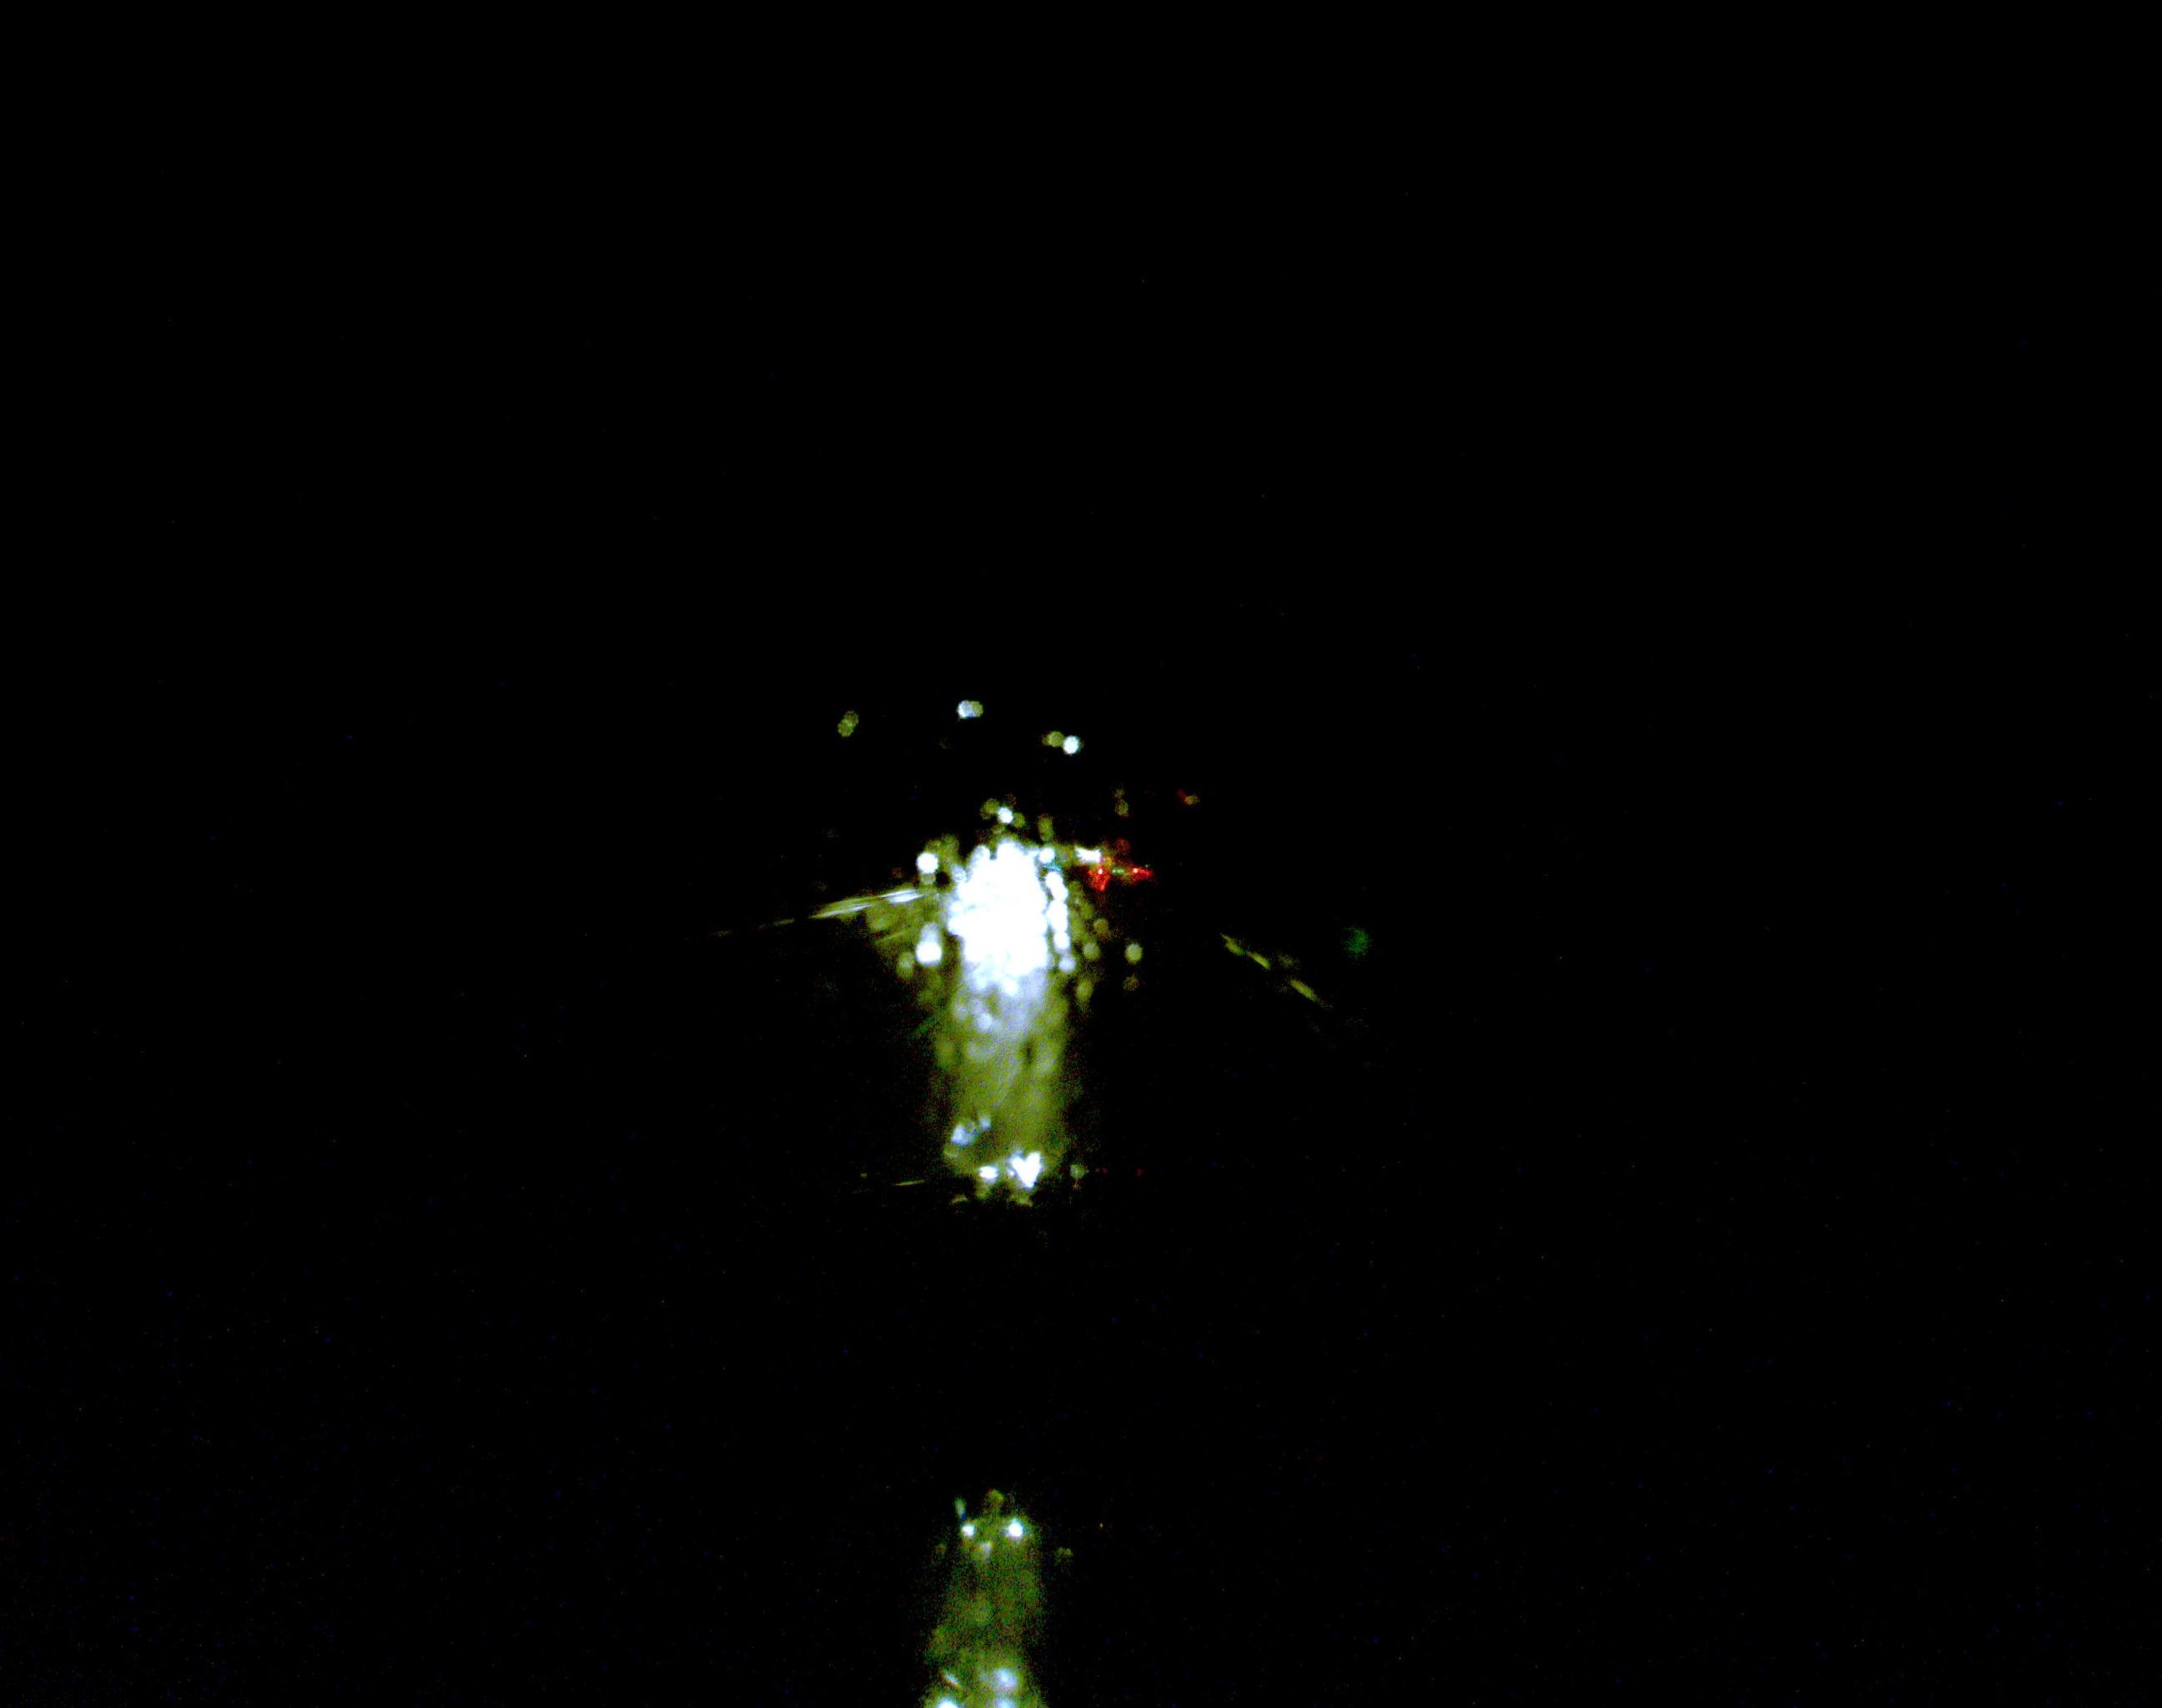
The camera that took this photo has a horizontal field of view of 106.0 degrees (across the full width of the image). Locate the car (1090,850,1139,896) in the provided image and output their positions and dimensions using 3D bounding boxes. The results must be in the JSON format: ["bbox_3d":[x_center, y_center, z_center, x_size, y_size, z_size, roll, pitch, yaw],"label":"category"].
[{"bbox_3d":[1.492,0.815,37.689,1.987,1.806,3.917,-3,2,-1],"label":"car"}]

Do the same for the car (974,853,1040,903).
[{"bbox_3d":[-2.655,0.826,30.377,1.793,1.580,4.460,-3,0,2],"label":"car"}]
